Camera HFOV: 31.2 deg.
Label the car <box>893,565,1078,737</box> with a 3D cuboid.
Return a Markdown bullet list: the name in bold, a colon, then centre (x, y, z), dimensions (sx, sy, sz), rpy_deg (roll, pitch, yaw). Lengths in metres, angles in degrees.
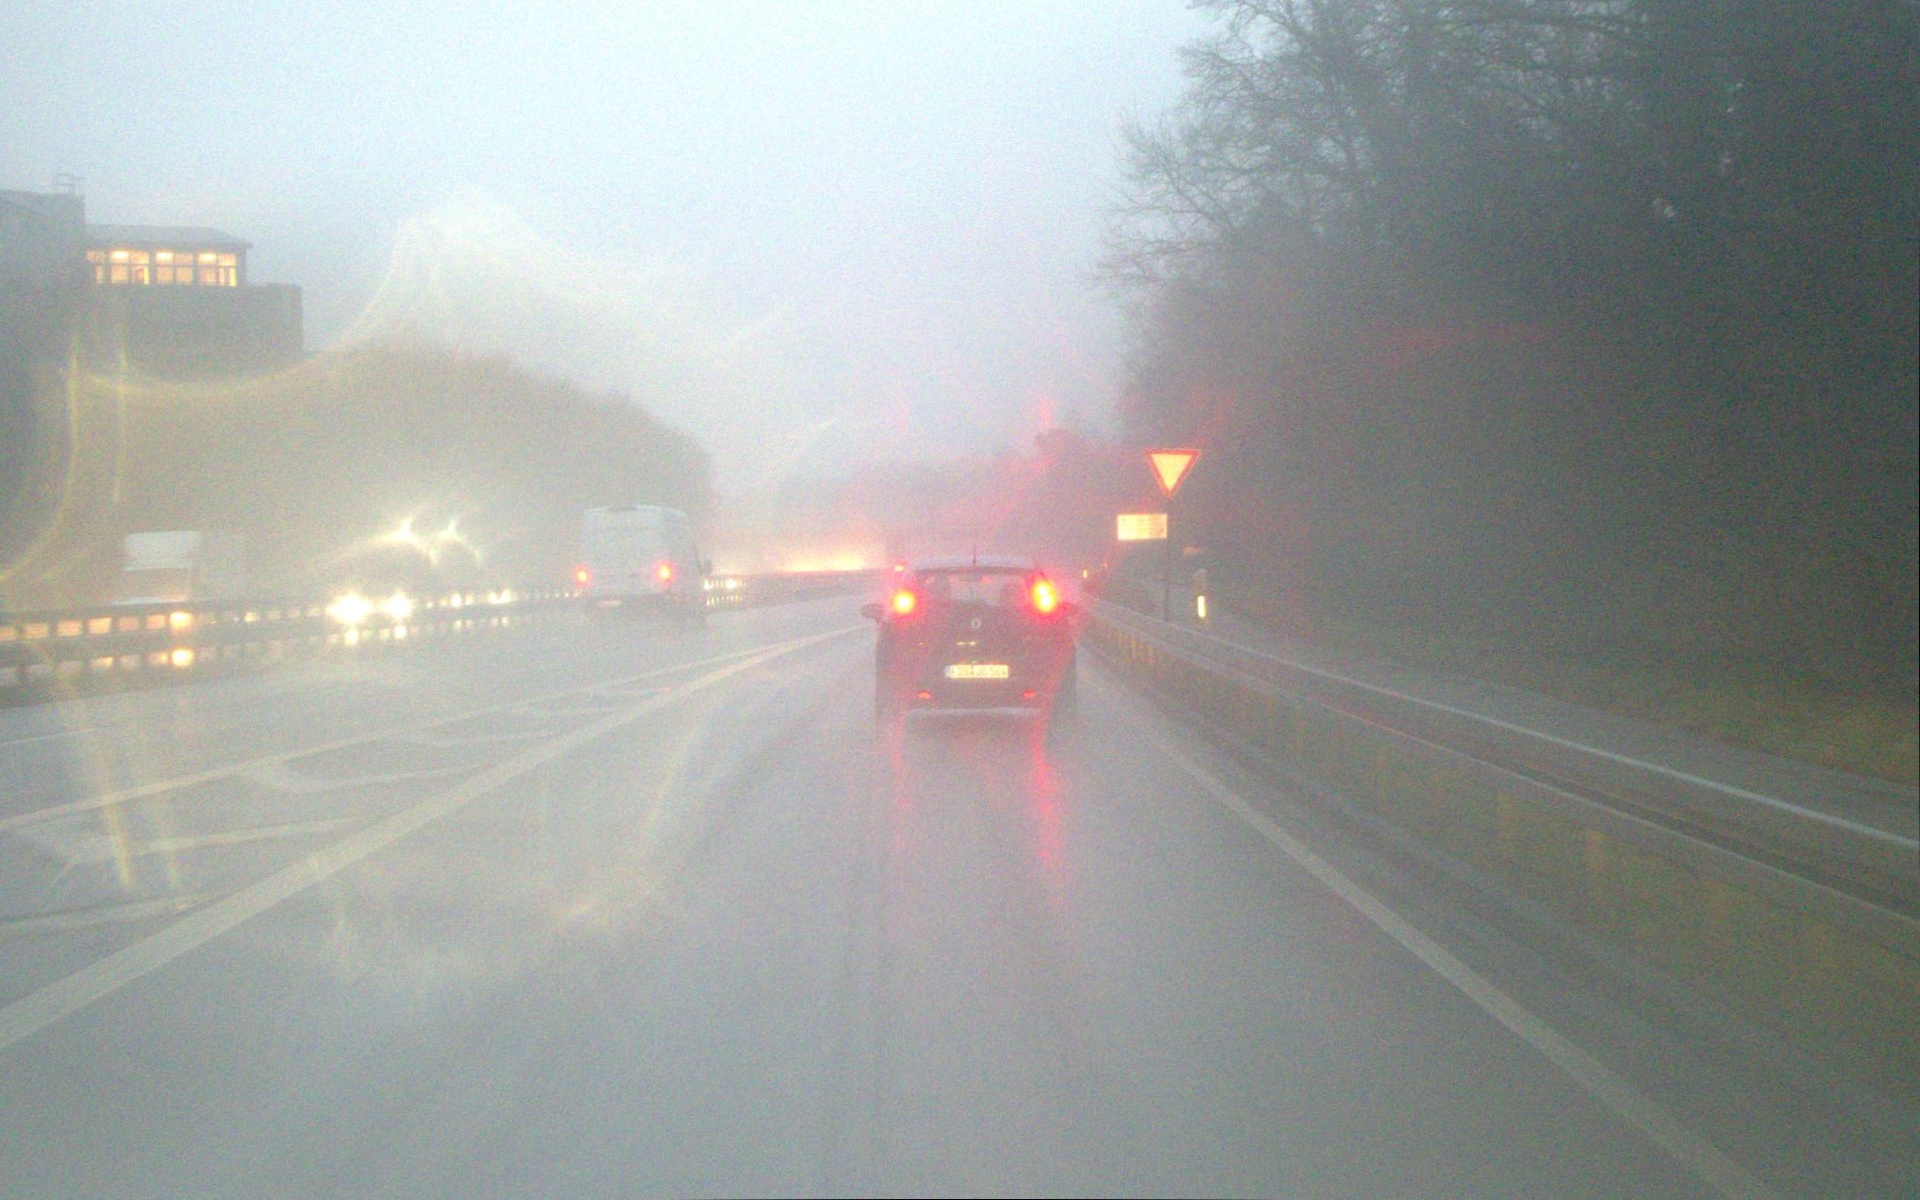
- **car**: centre (0.212, 0.401, 30.197), dimensions (1.527, 1.411, 3.479), rpy_deg (0, 1, 0)

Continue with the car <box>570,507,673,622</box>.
- **car**: centre (-7.427, -0.789, 75.822), dimensions (2.000, 2.445, 4.000), rpy_deg (0, 1, -2)
